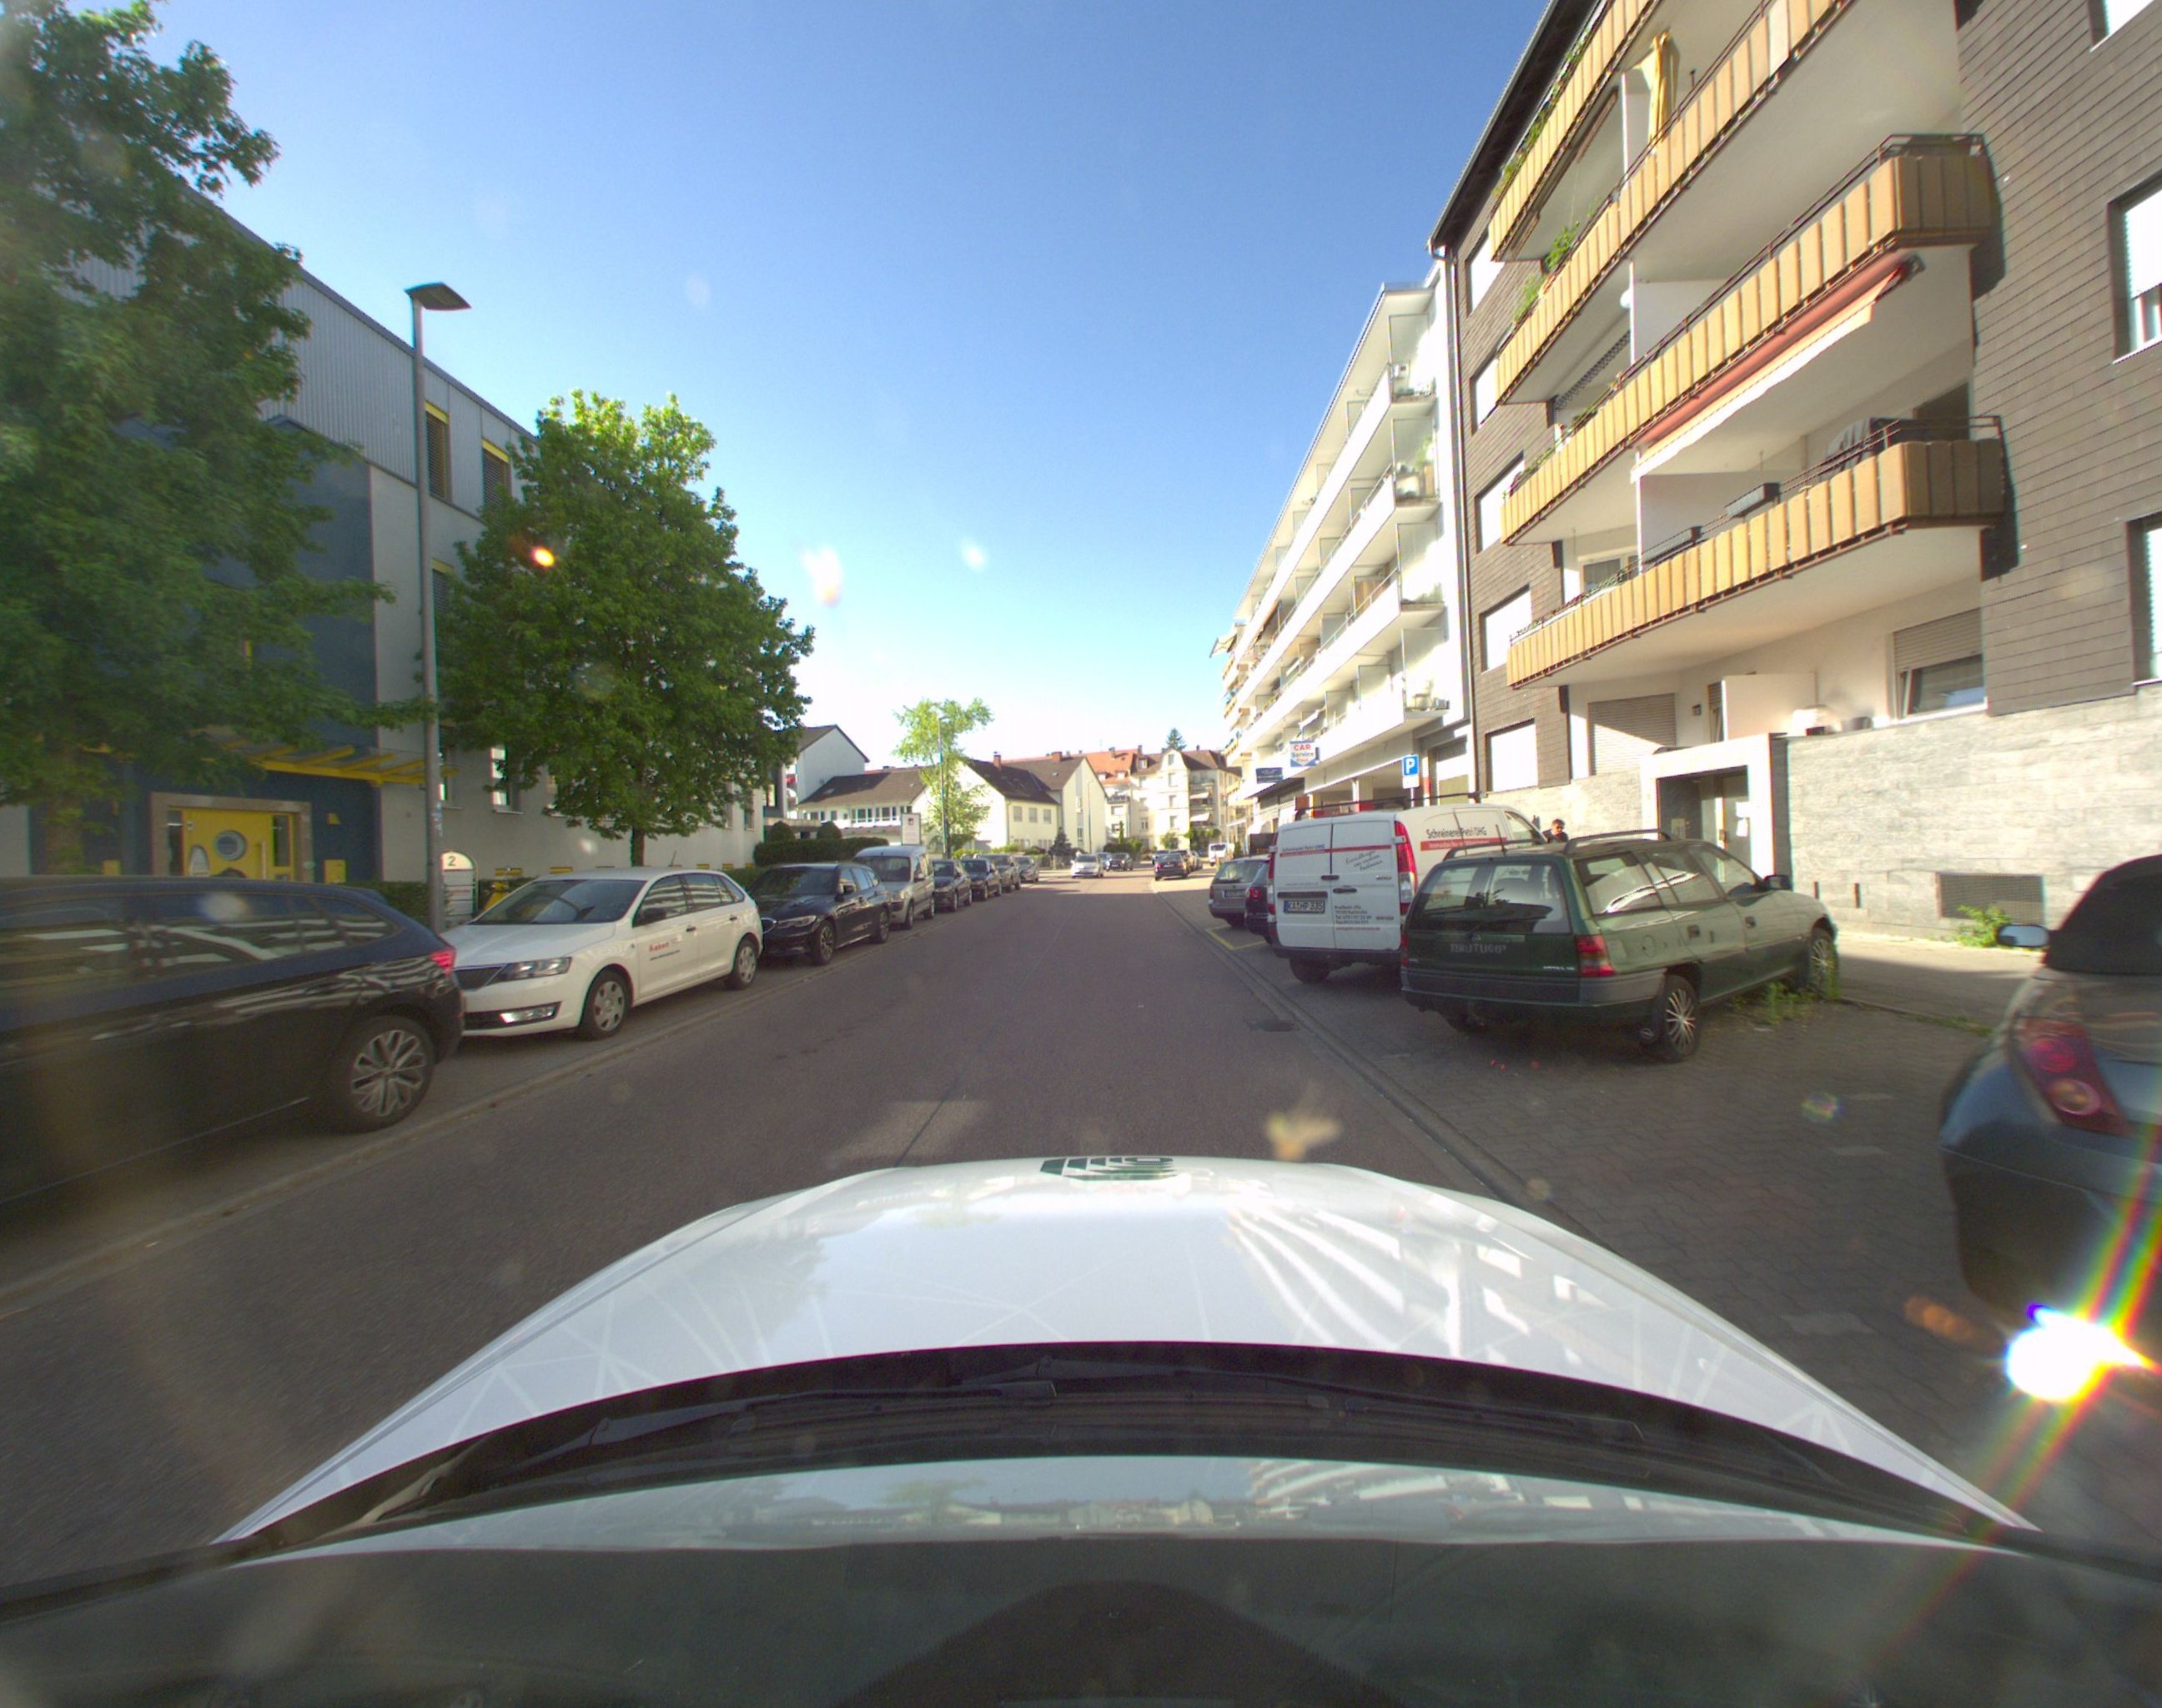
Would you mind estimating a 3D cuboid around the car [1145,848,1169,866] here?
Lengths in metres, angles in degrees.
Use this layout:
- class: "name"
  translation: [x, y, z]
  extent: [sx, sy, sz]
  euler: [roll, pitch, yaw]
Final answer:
- class: "car"
  translation: [8.098, 0.323, 86.715]
  extent: [1.906, 1.725, 4.351]
  euler: [-2, -2, 13]

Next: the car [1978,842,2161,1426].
- class: "car"
  translation: [4.270, 0.661, 2.675]
  extent: [3.414, 1.388, 1.522]
  euler: [-2, 0, -38]

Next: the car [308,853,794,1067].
- class: "car"
  translation: [-4.770, 0.817, 8.385]
  extent: [1.902, 1.530, 4.624]
  euler: [-2, -1, 1]

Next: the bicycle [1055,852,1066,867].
- class: "bicycle"
  translation: [-1.818, 0.526, 73.878]
  extent: [0.453, 1.250, 1.935]
  euler: [-2, -2, 14]

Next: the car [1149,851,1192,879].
- class: "car"
  translation: [5.036, 0.593, 45.231]
  extent: [1.959, 1.450, 5.017]
  euler: [-2, -1, 10]

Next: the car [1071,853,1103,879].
- class: "car"
  translation: [0.413, 0.722, 51.521]
  extent: [1.718, 1.485, 4.110]
  euler: [-2, 0, 3]

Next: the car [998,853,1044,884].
- class: "car"
  translation: [-3.209, 0.737, 44.408]
  extent: [1.986, 1.534, 4.920]
  euler: [-2, 0, 1]

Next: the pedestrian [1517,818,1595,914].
- class: "pedestrian"
  translation: [8.300, 0.214, 14.269]
  extent: [0.828, 1.593, 0.890]
  euler: [-3, -1, 7]

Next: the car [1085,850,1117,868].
- class: "car"
  translation: [1.861, 0.454, 73.453]
  extent: [1.784, 1.473, 4.349]
  euler: [-1, 1, 16]

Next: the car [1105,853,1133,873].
- class: "car"
  translation: [3.173, 0.735, 67.233]
  extent: [1.729, 1.513, 3.740]
  euler: [-2, -2, 10]

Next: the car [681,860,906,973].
- class: "car"
  translation: [-4.364, 0.860, 13.250]
  extent: [1.725, 1.439, 4.616]
  euler: [-2, 0, 4]

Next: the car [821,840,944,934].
- class: "car"
  translation: [-4.334, 0.655, 18.482]
  extent: [1.682, 1.838, 4.340]
  euler: [-2, 0, 0]

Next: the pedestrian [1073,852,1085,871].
- class: "pedestrian"
  translation: [-0.182, 0.684, 72.999]
  extent: [0.676, 1.703, 0.828]
  euler: [-3, -3, 23]

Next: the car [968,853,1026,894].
- class: "car"
  translation: [-3.502, 0.762, 34.659]
  extent: [1.712, 1.586, 4.425]
  euler: [-2, 0, 3]

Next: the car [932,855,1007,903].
- class: "car"
  translation: [-3.821, 0.812, 28.682]
  extent: [1.718, 1.465, 4.443]
  euler: [-2, 0, 3]

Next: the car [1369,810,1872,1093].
- class: "car"
  translation: [4.359, 0.560, 6.446]
  extent: [4.010, 1.489, 1.601]
  euler: [-4, -2, -30]

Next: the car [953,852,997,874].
- class: "car"
  translation: [-8.060, 0.724, 62.130]
  extent: [1.783, 1.556, 3.206]
  euler: [-3, -3, 25]

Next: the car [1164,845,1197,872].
- class: "car"
  translation: [6.942, 0.364, 56.564]
  extent: [1.805, 1.653, 4.575]
  euler: [-2, -2, 12]

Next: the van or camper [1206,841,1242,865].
- class: "van or camper"
  translation: [13.085, -0.148, 74.369]
  extent: [2.002, 1.947, 4.730]
  euler: [-4, -1, 25]

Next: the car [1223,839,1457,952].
- class: "car"
  translation: [4.429, 0.595, 13.528]
  extent: [4.352, 1.512, 1.735]
  euler: [-2, -1, -43]

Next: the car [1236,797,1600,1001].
- class: "car"
  translation: [4.232, 0.391, 9.884]
  extent: [4.553, 1.898, 2.026]
  euler: [-4, -2, -39]

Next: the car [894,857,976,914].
- class: "car"
  translation: [-4.059, 0.840, 23.256]
  extent: [1.593, 1.440, 3.999]
  euler: [-1, 0, 0]

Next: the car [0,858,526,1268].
- class: "car"
  translation: [-4.862, 0.789, 3.483]
  extent: [1.902, 1.479, 4.380]
  euler: [-2, -1, 0]

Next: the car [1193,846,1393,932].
- class: "car"
  translation: [4.583, 0.671, 17.209]
  extent: [4.672, 1.466, 1.670]
  euler: [-2, -2, -41]
